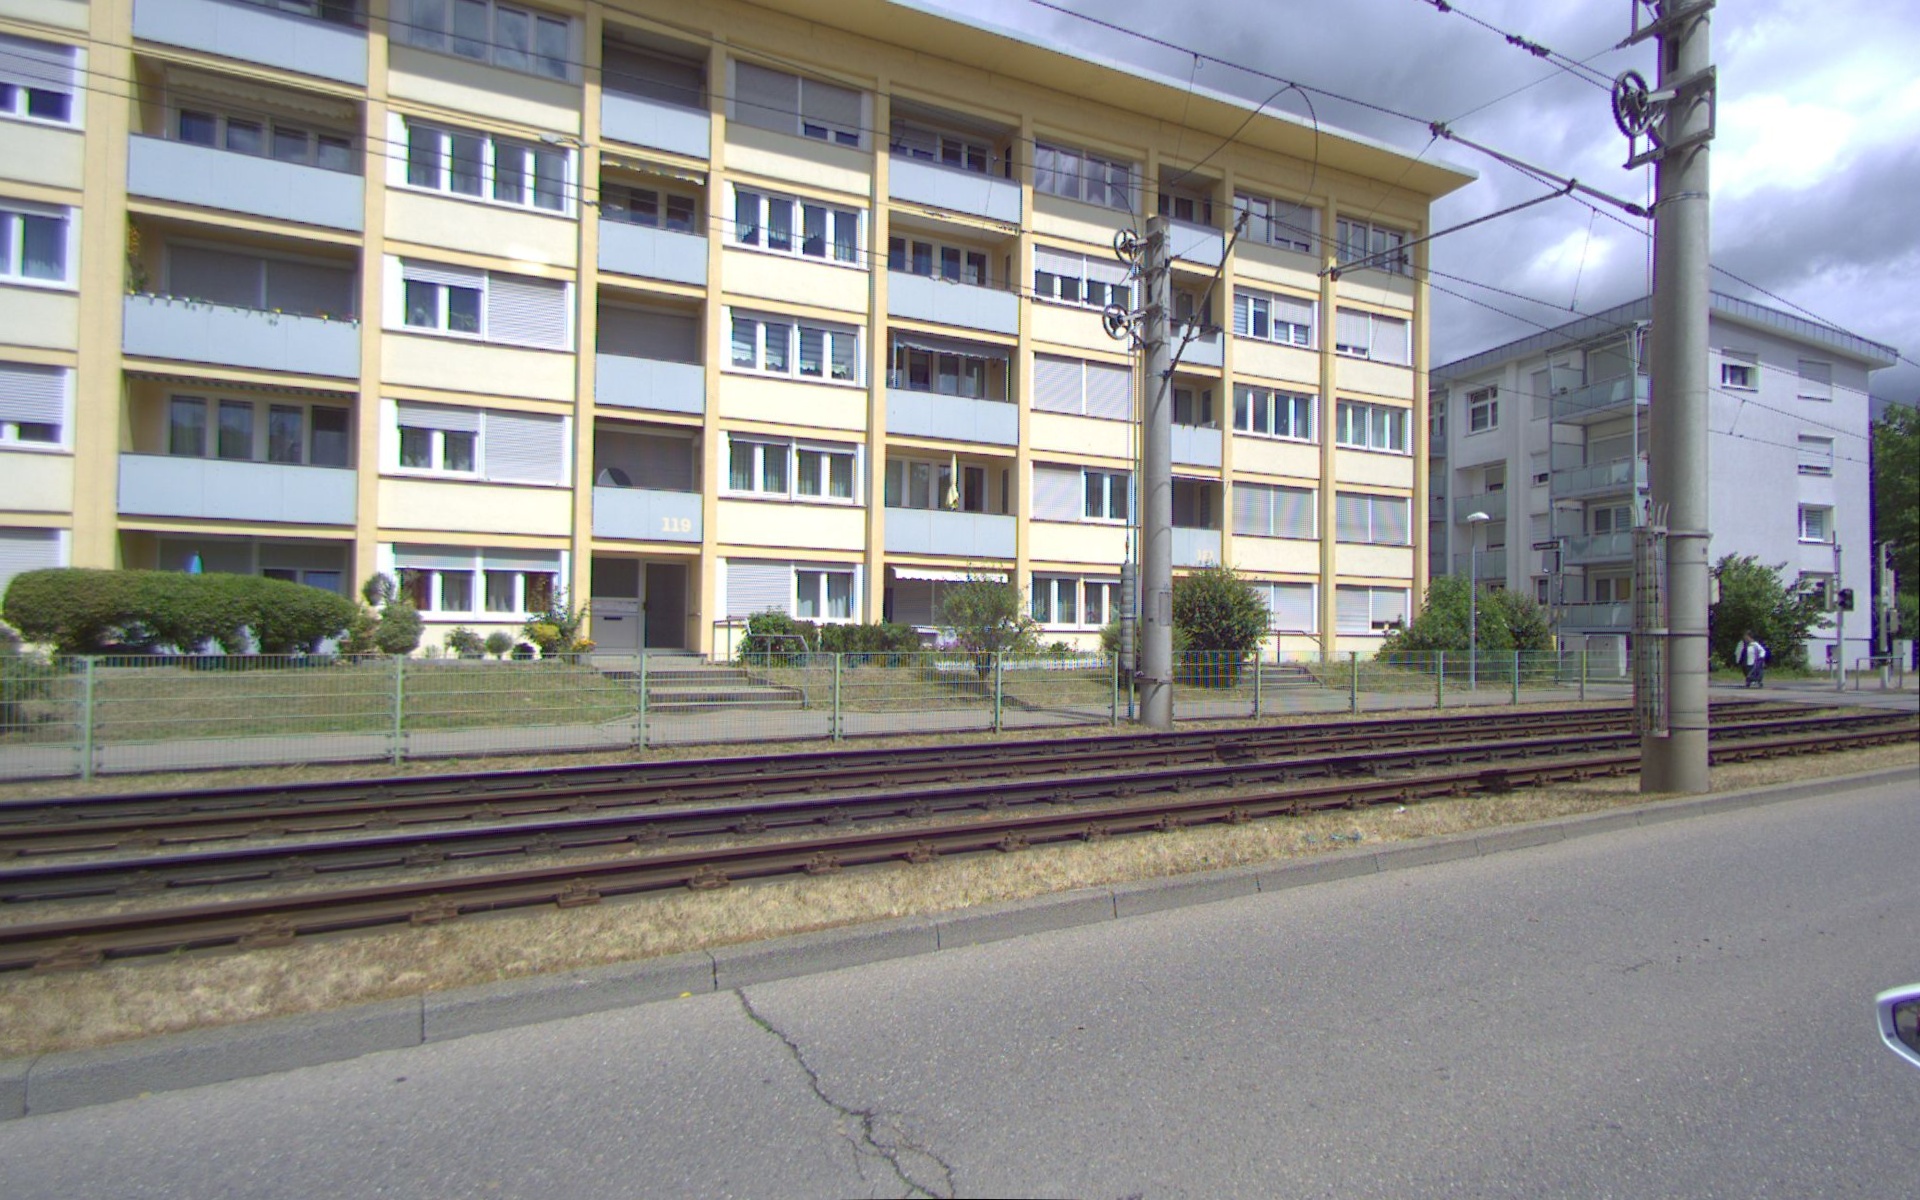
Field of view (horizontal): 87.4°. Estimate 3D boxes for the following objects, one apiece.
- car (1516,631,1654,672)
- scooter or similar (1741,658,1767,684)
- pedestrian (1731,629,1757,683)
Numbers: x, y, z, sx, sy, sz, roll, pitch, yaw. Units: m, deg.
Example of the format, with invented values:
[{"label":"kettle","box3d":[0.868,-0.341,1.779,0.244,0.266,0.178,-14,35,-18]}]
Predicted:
[{"label":"car","box3d":[22.735,1.834,36.708,1.873,1.363,3.980,1,-2,-21]},{"label":"scooter or similar","box3d":[23.153,2.069,29.305,0.468,0.757,0.436,1,-1,-25]},{"label":"pedestrian","box3d":[23.272,1.661,29.821,0.468,1.601,0.436,1,-1,-25]}]
